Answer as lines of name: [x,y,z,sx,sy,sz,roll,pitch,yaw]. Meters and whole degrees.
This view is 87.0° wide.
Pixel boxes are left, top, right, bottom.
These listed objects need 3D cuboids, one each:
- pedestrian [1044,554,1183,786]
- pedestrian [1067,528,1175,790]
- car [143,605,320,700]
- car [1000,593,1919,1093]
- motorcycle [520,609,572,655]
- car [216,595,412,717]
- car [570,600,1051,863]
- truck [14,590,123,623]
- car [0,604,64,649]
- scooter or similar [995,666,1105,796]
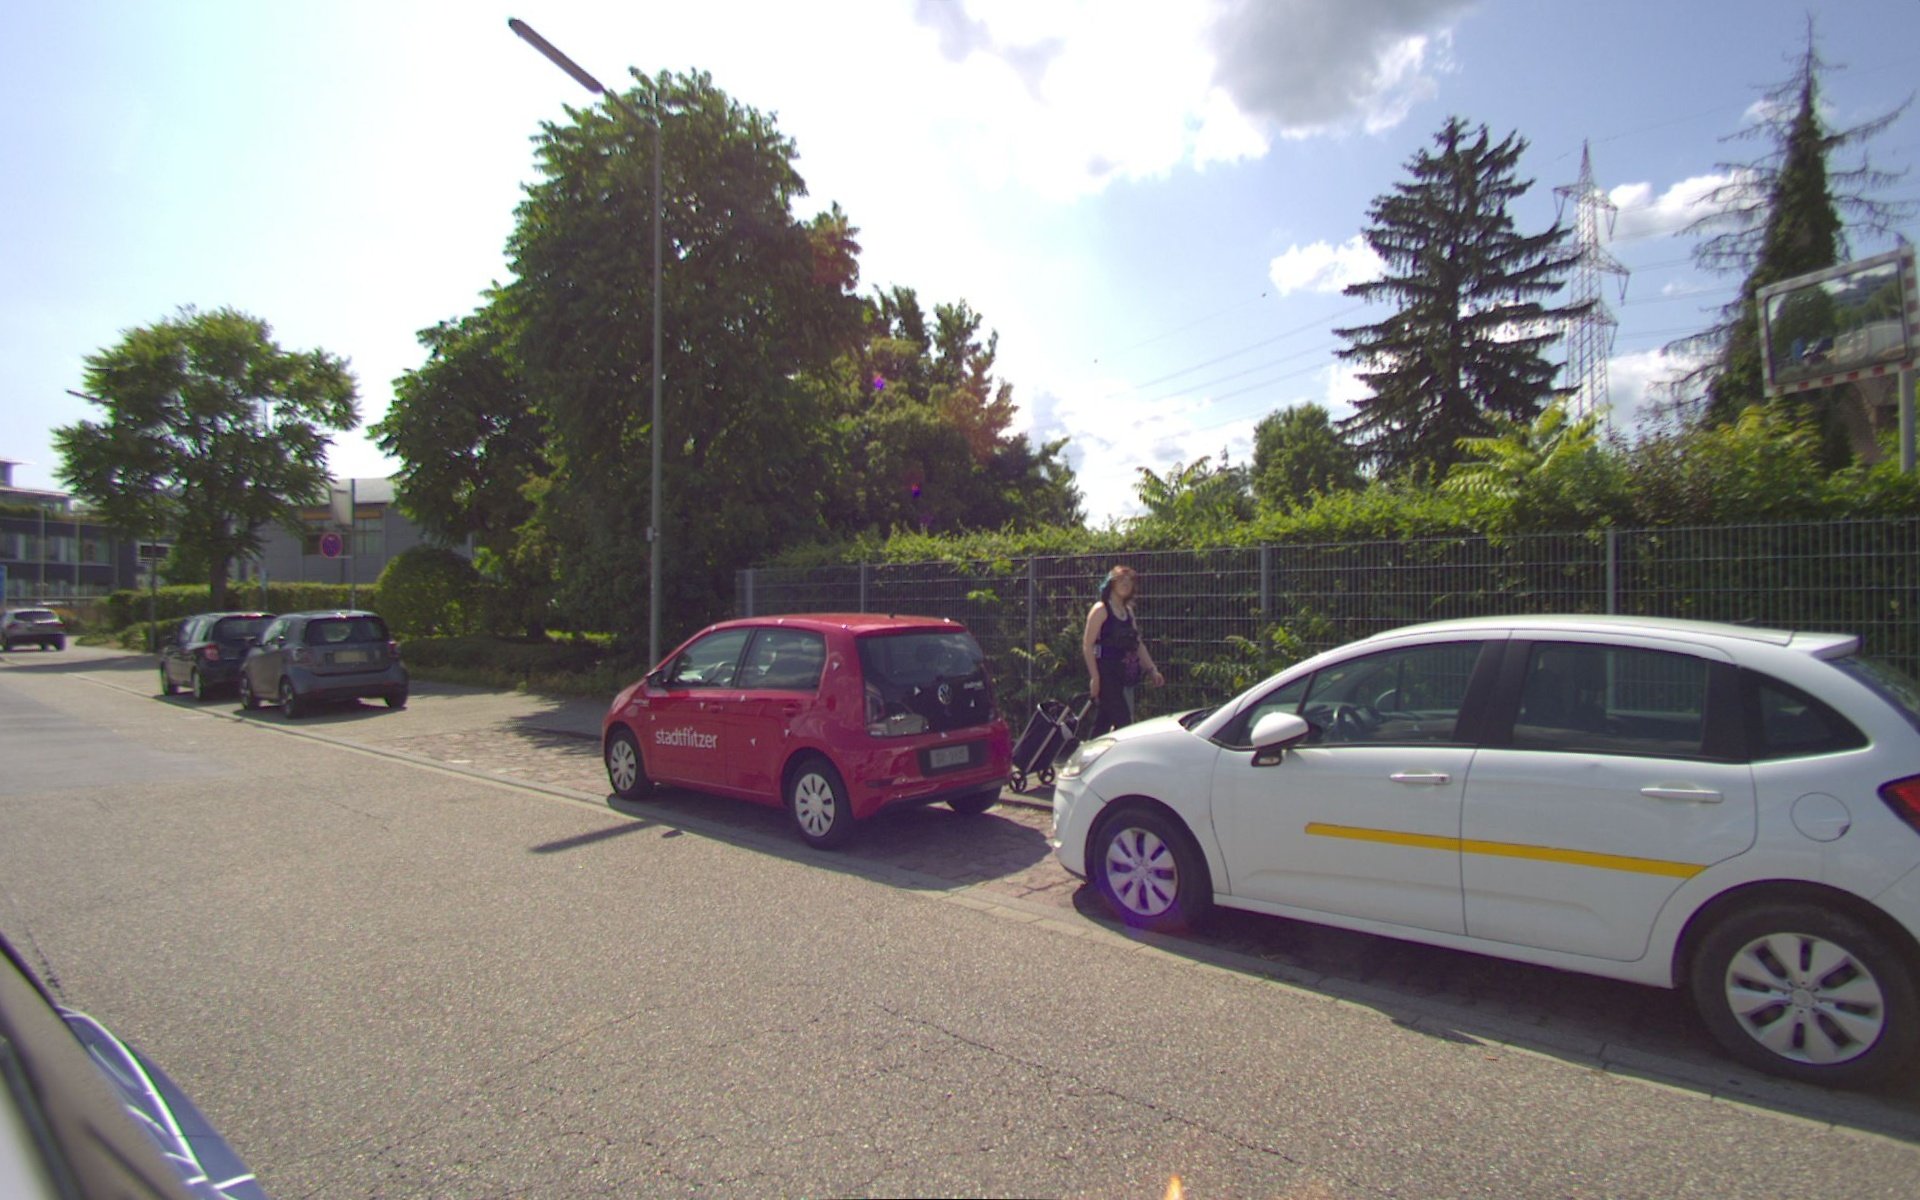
pedestrian: [1.286,0.548,8.484,0.915,1.814,0.700,0,0,41]
pedestrian: [1.233,0.430,7.768,0.677,1.908,0.446,0,0,41]
car: [-13.776,0.898,19.056,3.998,1.519,1.826,0,2,41]
car: [2.258,0.723,4.616,4.027,1.488,1.628,0,0,41]
motorcycle: [-11.632,0.883,28.398,1.939,1.229,0.526,0,-1,41]
car: [-10.207,0.800,15.940,3.270,1.657,1.634,0,2,40]
car: [-1.294,0.757,7.716,3.743,1.478,1.648,0,1,42]
truck: [-76.201,0.559,86.667,2.382,2.678,6.901,0,-1,15]
car: [-36.046,0.967,38.814,4.471,1.586,1.741,0,0,38]
scooter or similar: [0.693,0.987,7.817,0.710,0.894,0.466,0,0,41]
